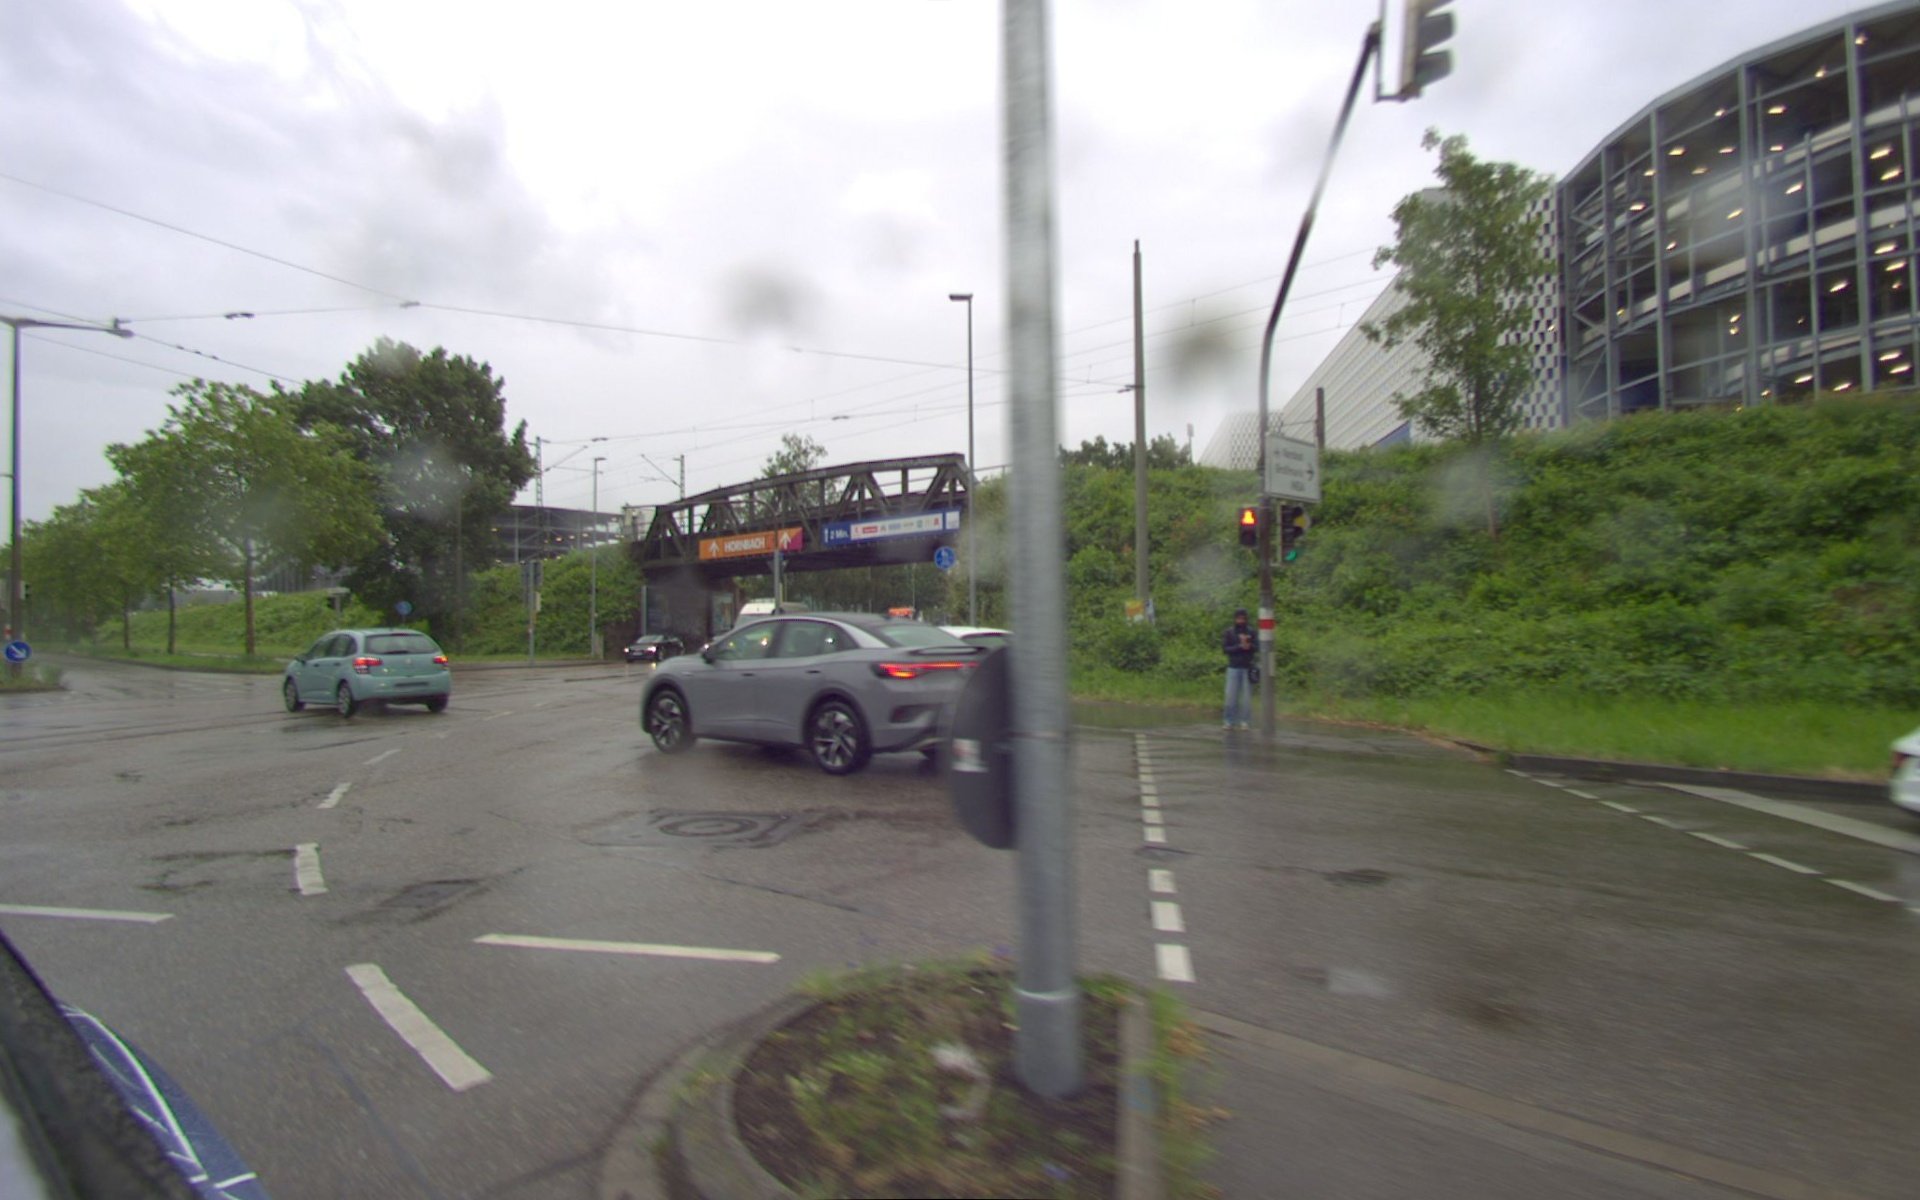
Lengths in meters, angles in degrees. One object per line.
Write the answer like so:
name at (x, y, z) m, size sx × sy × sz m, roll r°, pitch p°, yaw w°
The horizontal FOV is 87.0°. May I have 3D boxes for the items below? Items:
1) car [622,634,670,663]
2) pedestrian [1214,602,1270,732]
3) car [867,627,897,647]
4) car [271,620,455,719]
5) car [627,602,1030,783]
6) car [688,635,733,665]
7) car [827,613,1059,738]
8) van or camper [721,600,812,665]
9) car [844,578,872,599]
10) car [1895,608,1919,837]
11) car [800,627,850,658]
car at (-15.637, 2.399, 50.476) m, size 1.668 × 1.358 × 3.474 m, roll 0°, pitch -2°, yaw -7°
pedestrian at (4.046, 0.945, 14.508) m, size 0.626 × 1.801 × 0.479 m, roll -2°, pitch -2°, yaw 35°
car at (-6.268, 2.947, 81.866) m, size 1.674 × 1.566 × 3.797 m, roll -1°, pitch -2°, yaw 7°
car at (-10.885, 1.206, 18.387) m, size 3.619 × 1.614 × 1.676 m, roll -2°, pitch -3°, yaw 38°
car at (-1.576, 0.907, 11.180) m, size 4.383 × 1.614 × 1.952 m, roll -2°, pitch -3°, yaw 39°
car at (-11.882, 2.371, 48.298) m, size 1.668 × 1.358 × 3.474 m, roll 0°, pitch -2°, yaw -7°
car at (-0.359, 1.047, 14.980) m, size 1.627 × 1.614 × 3.574 m, roll 1°, pitch -3°, yaw -37°
van or camper at (-8.573, 1.440, 45.609) m, size 1.976 × 2.682 × 6.912 m, roll -1°, pitch -2°, yaw 7°
car at (-10.126, -1.104, 101.072) m, size 1.976 × 2.029 × 3.992 m, roll -1°, pitch 0°, yaw 7°
car at (8.438, 0.813, 6.290) m, size 3.787 × 1.555 × 1.653 m, roll -2°, pitch -4°, yaw 42°
car at (-7.056, 2.209, 53.143) m, size 1.674 × 1.566 × 3.797 m, roll -1°, pitch -2°, yaw 7°
